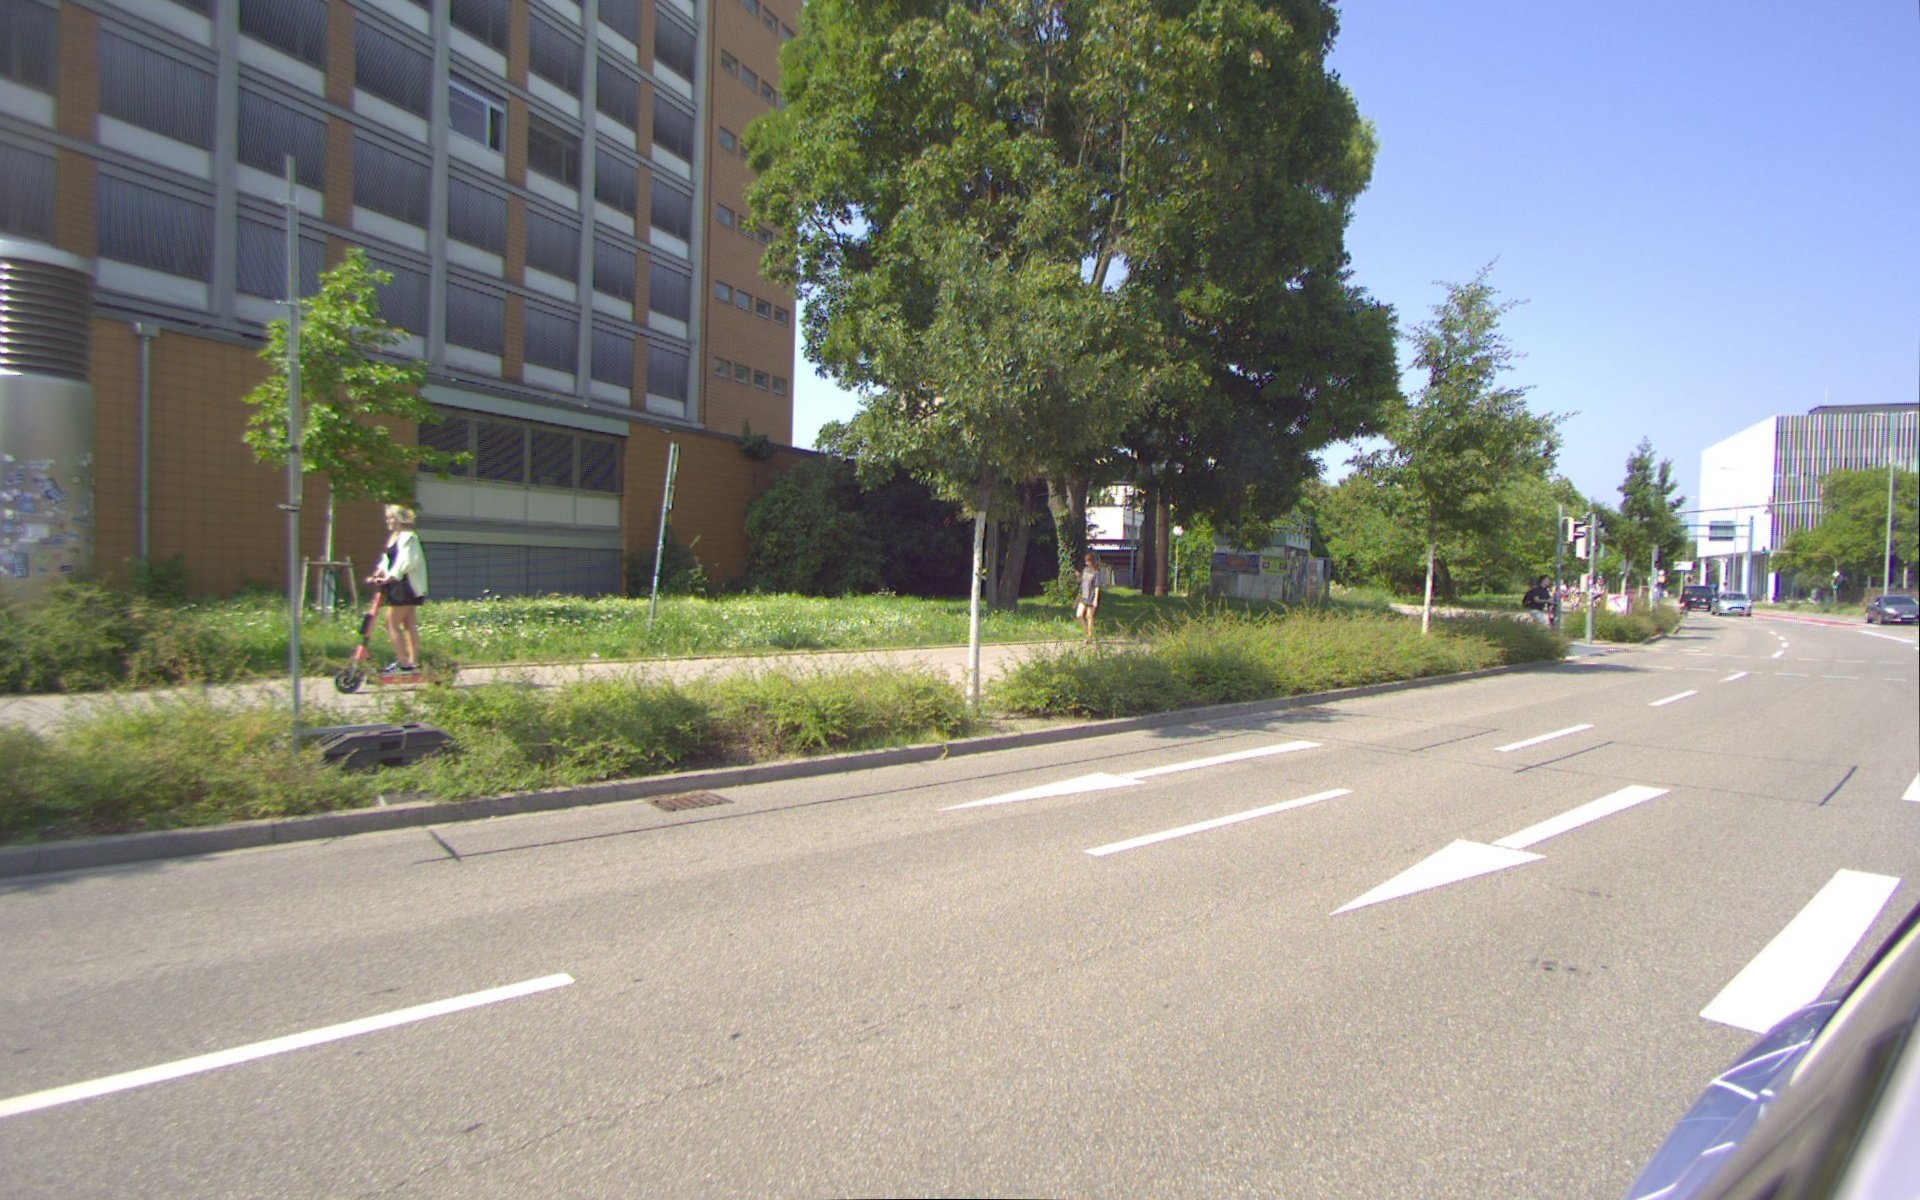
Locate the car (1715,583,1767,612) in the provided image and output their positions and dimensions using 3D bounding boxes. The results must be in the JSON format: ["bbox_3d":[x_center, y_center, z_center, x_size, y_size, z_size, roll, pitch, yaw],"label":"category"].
[{"bbox_3d":[49.632,-0.197,64.386,1.983,1.699,3.958,2,2,30],"label":"car"}]

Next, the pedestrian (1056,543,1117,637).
[{"bbox_3d":[2.423,-0.200,19.406,0.706,1.725,0.865,5,4,43],"label":"pedestrian"}]

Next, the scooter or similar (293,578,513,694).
[{"bbox_3d":[-5.853,0.332,10.734,1.972,1.072,0.557,-2,7,-45],"label":"scooter or similar"}]

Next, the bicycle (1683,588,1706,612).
[{"bbox_3d":[39.578,-0.005,54.542,0.780,1.227,1.770,3,2,31],"label":"bicycle"}]

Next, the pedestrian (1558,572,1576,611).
[{"bbox_3d":[28.964,-0.406,48.300,0.688,1.793,0.581,3,2,31],"label":"pedestrian"}]

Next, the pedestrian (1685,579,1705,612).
[{"bbox_3d":[39.500,-0.252,54.384,0.774,1.689,0.543,3,2,31],"label":"pedestrian"}]

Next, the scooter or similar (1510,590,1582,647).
[{"bbox_3d":[13.963,0.432,24.151,0.573,1.249,1.371,1,3,-23],"label":"scooter or similar"}]

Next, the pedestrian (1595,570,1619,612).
[{"bbox_3d":[28.204,-0.385,44.153,0.787,1.790,0.817,2,2,31],"label":"pedestrian"}]

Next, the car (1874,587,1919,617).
[{"bbox_3d":[46.415,0.092,49.529,1.776,1.374,3.389,1,1,30],"label":"car"}]

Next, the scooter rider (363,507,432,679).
[{"bbox_3d":[-5.909,-0.094,10.621,0.529,1.719,0.673,0,5,-37],"label":"scooter rider"}]

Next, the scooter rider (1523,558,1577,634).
[{"bbox_3d":[14.052,-0.109,24.112,0.674,1.760,0.807,1,2,-23],"label":"scooter rider"}]

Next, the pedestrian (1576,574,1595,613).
[{"bbox_3d":[29.688,-0.323,48.027,0.688,1.793,0.581,3,2,31],"label":"pedestrian"}]

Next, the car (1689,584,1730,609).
[{"bbox_3d":[56.750,-0.291,76.672,1.983,1.801,3.958,2,2,30],"label":"car"}]
